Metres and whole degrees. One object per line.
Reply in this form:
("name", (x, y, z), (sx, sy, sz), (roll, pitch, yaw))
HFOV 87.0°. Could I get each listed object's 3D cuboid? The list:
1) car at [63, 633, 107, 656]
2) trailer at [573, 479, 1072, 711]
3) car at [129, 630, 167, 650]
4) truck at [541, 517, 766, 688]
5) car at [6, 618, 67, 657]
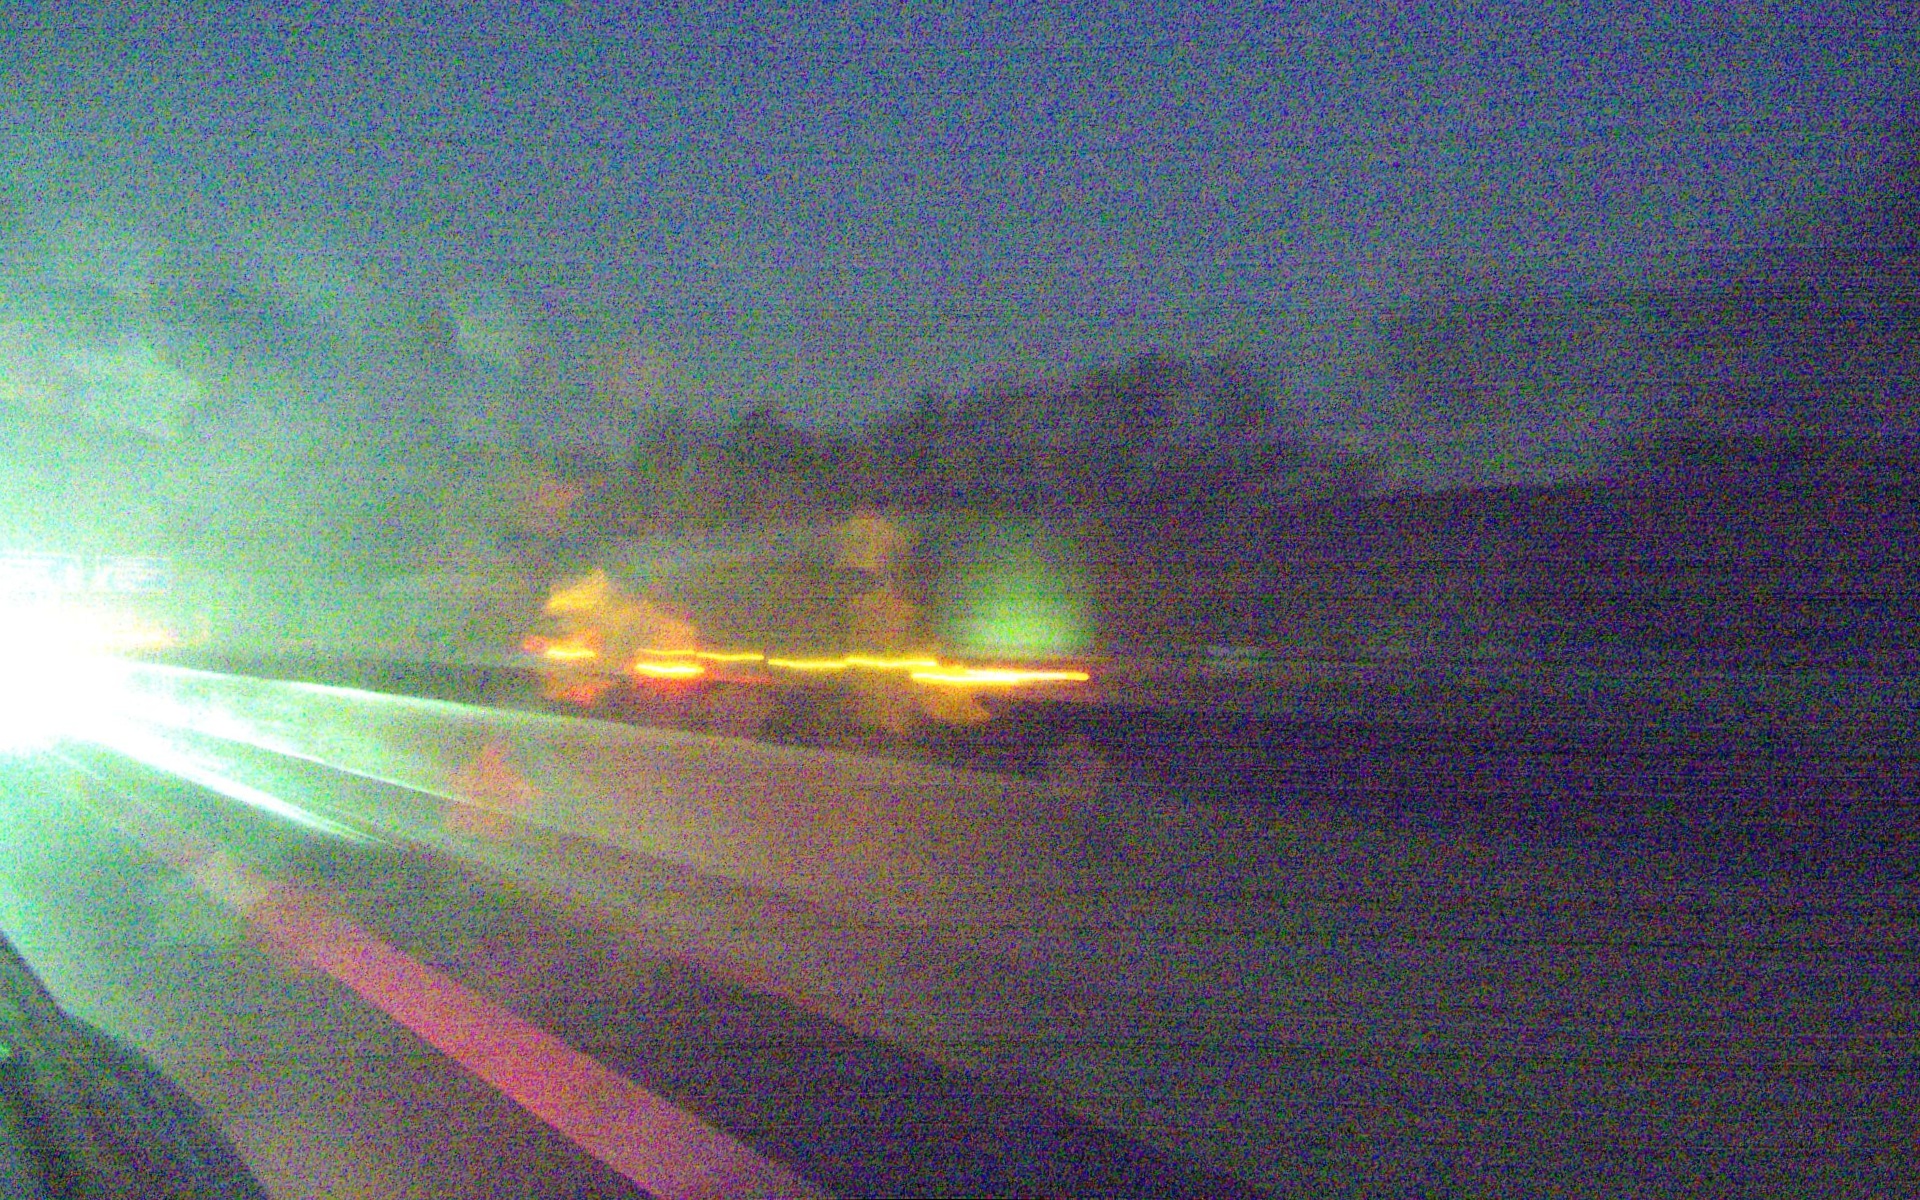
("car", (-69.266, 3.540, 80.103), (4.589, 1.773, 1.972), (-2, -3, 42))
("trailer", (-4.292, -0.064, 24.816), (14.856, 4.299, 2.943), (-1, 3, 41))
("car", (-73.597, 3.604, 91.717), (4.244, 1.728, 1.972), (-2, -3, 41))
("truck", (-8.815, 0.029, 28.782), (6.501, 4.299, 2.943), (-1, 3, 41))
("car", (-50.562, 2.038, 55.376), (4.449, 2.029, 1.972), (-2, -2, 41))
